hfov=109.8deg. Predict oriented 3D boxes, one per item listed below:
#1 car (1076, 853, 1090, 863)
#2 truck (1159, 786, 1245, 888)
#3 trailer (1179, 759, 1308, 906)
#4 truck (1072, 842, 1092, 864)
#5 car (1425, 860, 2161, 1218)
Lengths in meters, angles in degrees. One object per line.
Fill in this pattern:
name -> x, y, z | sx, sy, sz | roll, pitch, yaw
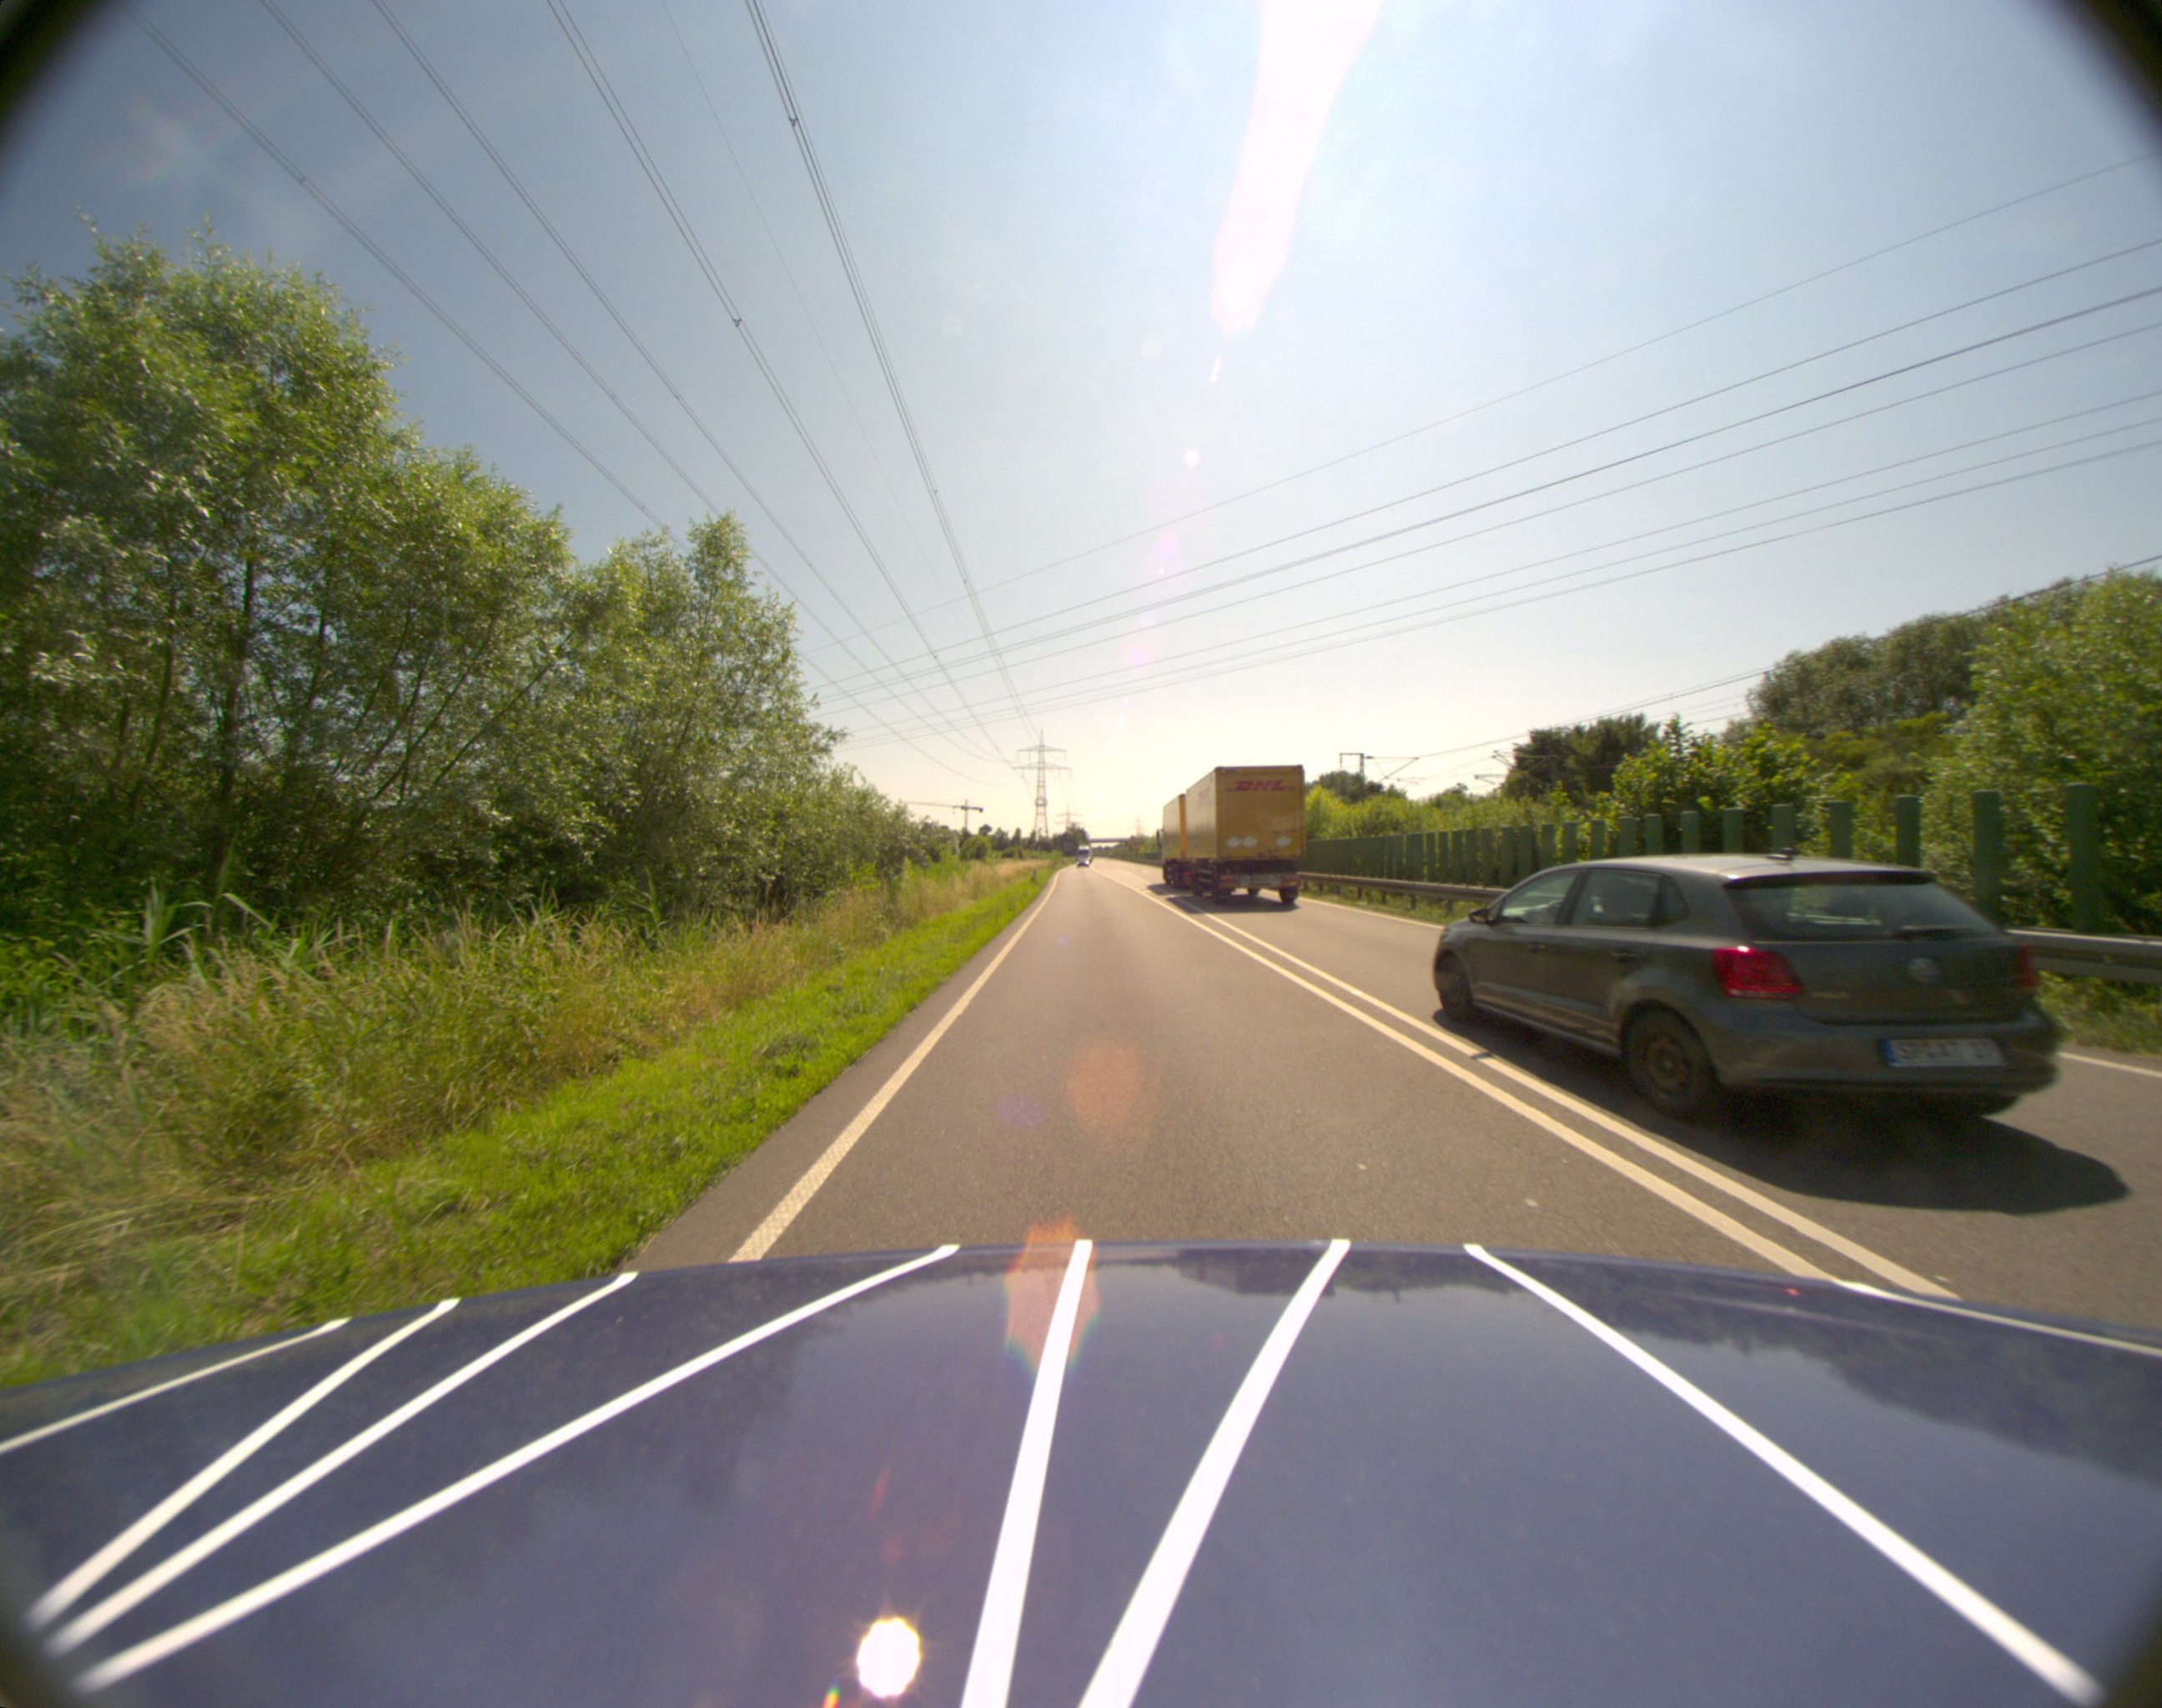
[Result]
car -> 0.307, 0.571, 107.320 | 1.998, 1.346, 4.157 | -2, 1, 1
truck -> 5.464, -0.720, 36.172 | 2.554, 4.104, 10.604 | -1, 0, 1
trailer -> 5.227, -0.623, 26.240 | 2.554, 4.120, 9.228 | -1, 0, 1
truck -> 0.323, -0.283, 172.312 | 4.219, 4.608, 21.303 | -2, 0, 1
car -> 3.970, 0.800, 5.107 | 1.618, 1.433, 3.794 | -1, 0, 1
